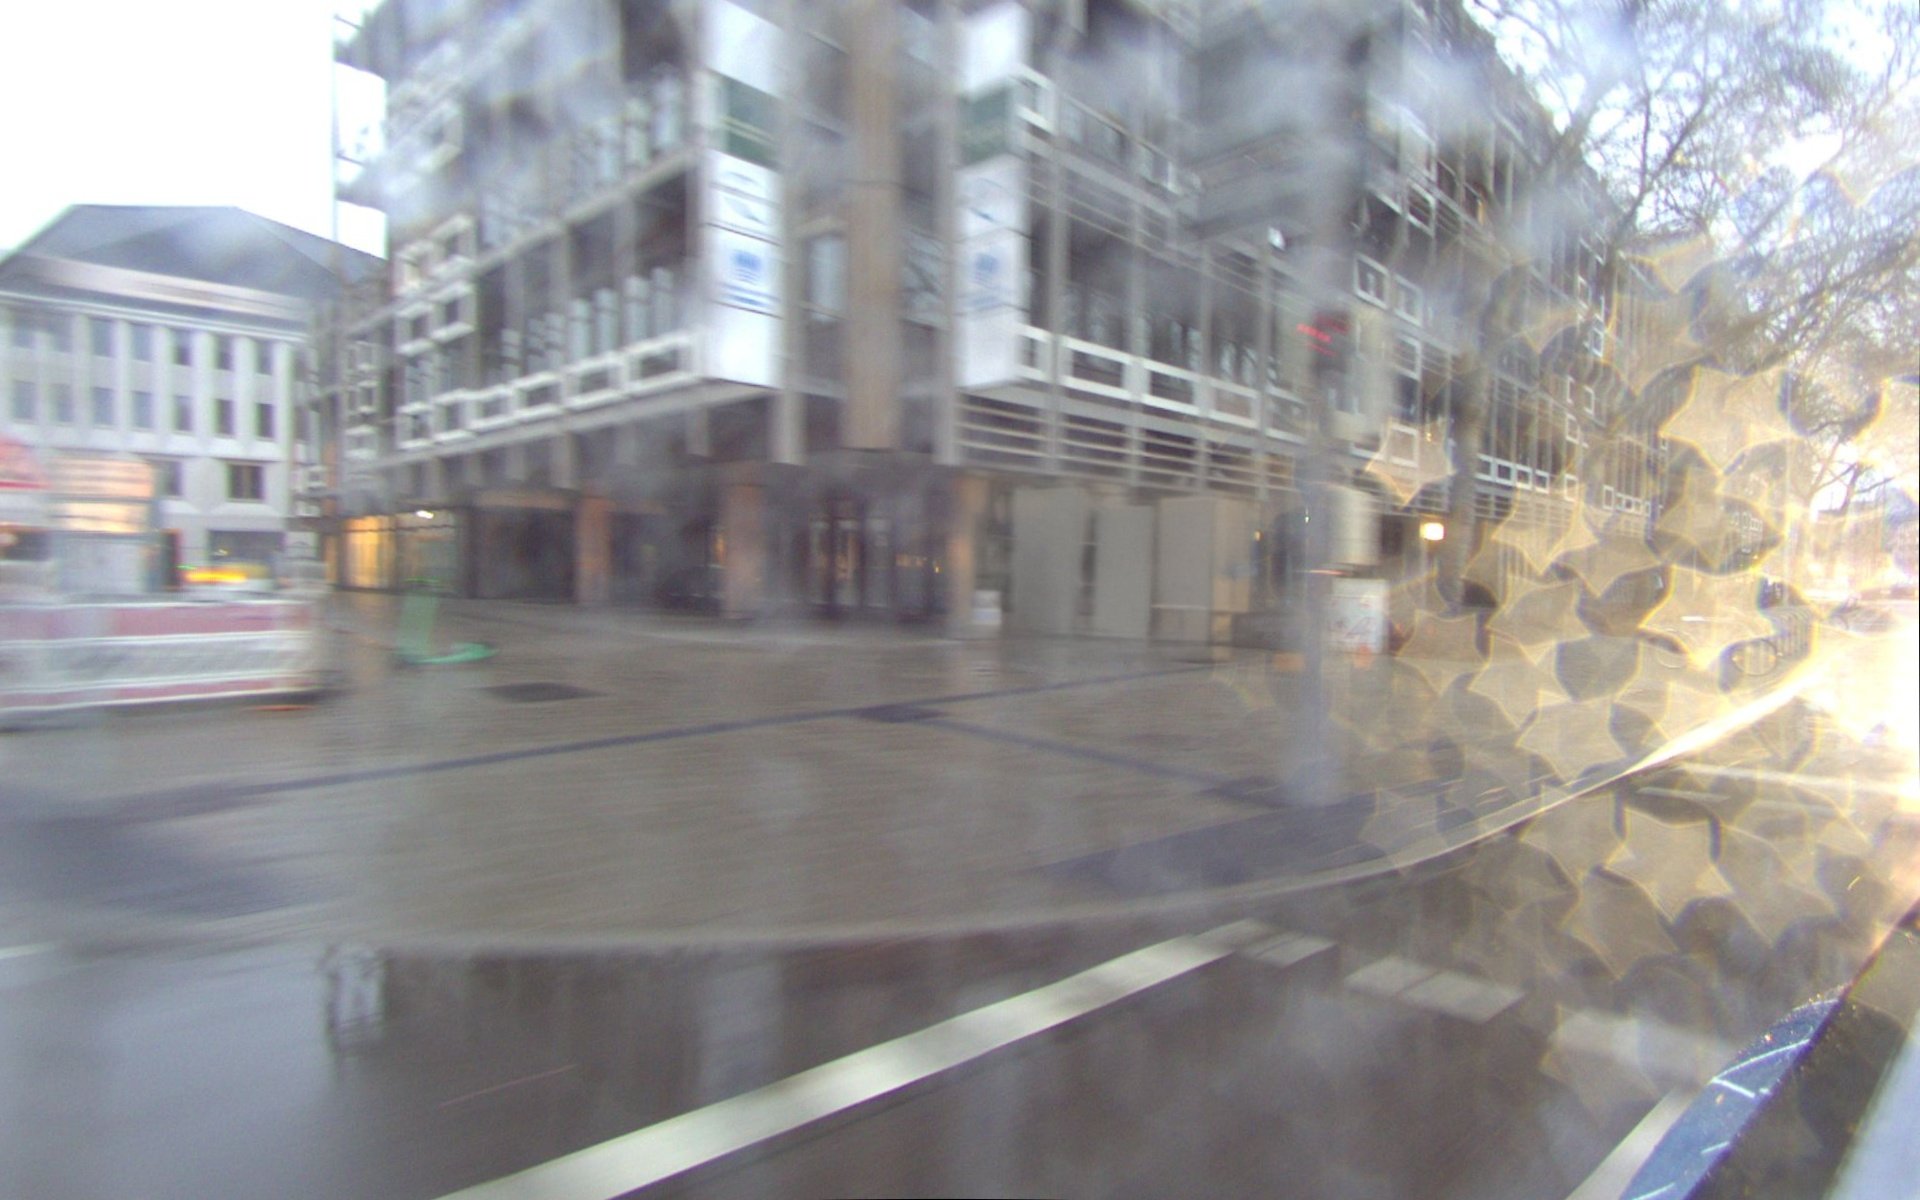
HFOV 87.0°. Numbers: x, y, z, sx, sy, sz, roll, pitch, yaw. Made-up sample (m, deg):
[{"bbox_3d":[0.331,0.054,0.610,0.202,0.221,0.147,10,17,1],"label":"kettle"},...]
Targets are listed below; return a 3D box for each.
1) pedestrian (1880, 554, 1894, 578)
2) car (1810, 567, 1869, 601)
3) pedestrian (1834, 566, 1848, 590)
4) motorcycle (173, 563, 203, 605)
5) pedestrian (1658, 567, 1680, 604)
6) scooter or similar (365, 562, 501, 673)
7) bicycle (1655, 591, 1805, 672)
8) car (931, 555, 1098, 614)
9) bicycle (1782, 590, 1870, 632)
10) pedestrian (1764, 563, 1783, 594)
[{"bbox_3d":[70.464,-2.593,76.931,0.764,1.771,0.914,2,3,42],"label":"pedestrian"},{"bbox_3d":[40.435,-0.739,46.509,3.934,1.482,1.710,-2,2,-44],"label":"car"},{"bbox_3d":[68.234,-1.711,78.359,0.764,1.771,0.914,2,3,42],"label":"pedestrian"},{"bbox_3d":[-25.834,-0.540,33.857,0.585,1.370,1.490,0,0,-45],"label":"motorcycle"},{"bbox_3d":[34.809,-0.714,49.686,0.764,1.771,0.914,2,3,42],"label":"pedestrian"},{"bbox_3d":[-6.857,0.207,13.204,1.470,1.370,0.593,-1,0,-44],"label":"scooter or similar"},{"bbox_3d":[12.404,0.483,16.351,0.629,1.145,1.809,1,3,-43],"label":"bicycle"},{"bbox_3d":[1.407,-0.430,25.371,3.932,1.326,1.997,-2,4,-42],"label":"car"},{"bbox_3d":[23.665,0.275,27.664,0.865,1.004,1.702,-2,5,-43],"label":"bicycle"},{"bbox_3d":[47.350,-1.244,58.880,0.764,1.771,0.914,2,3,42],"label":"pedestrian"}]
